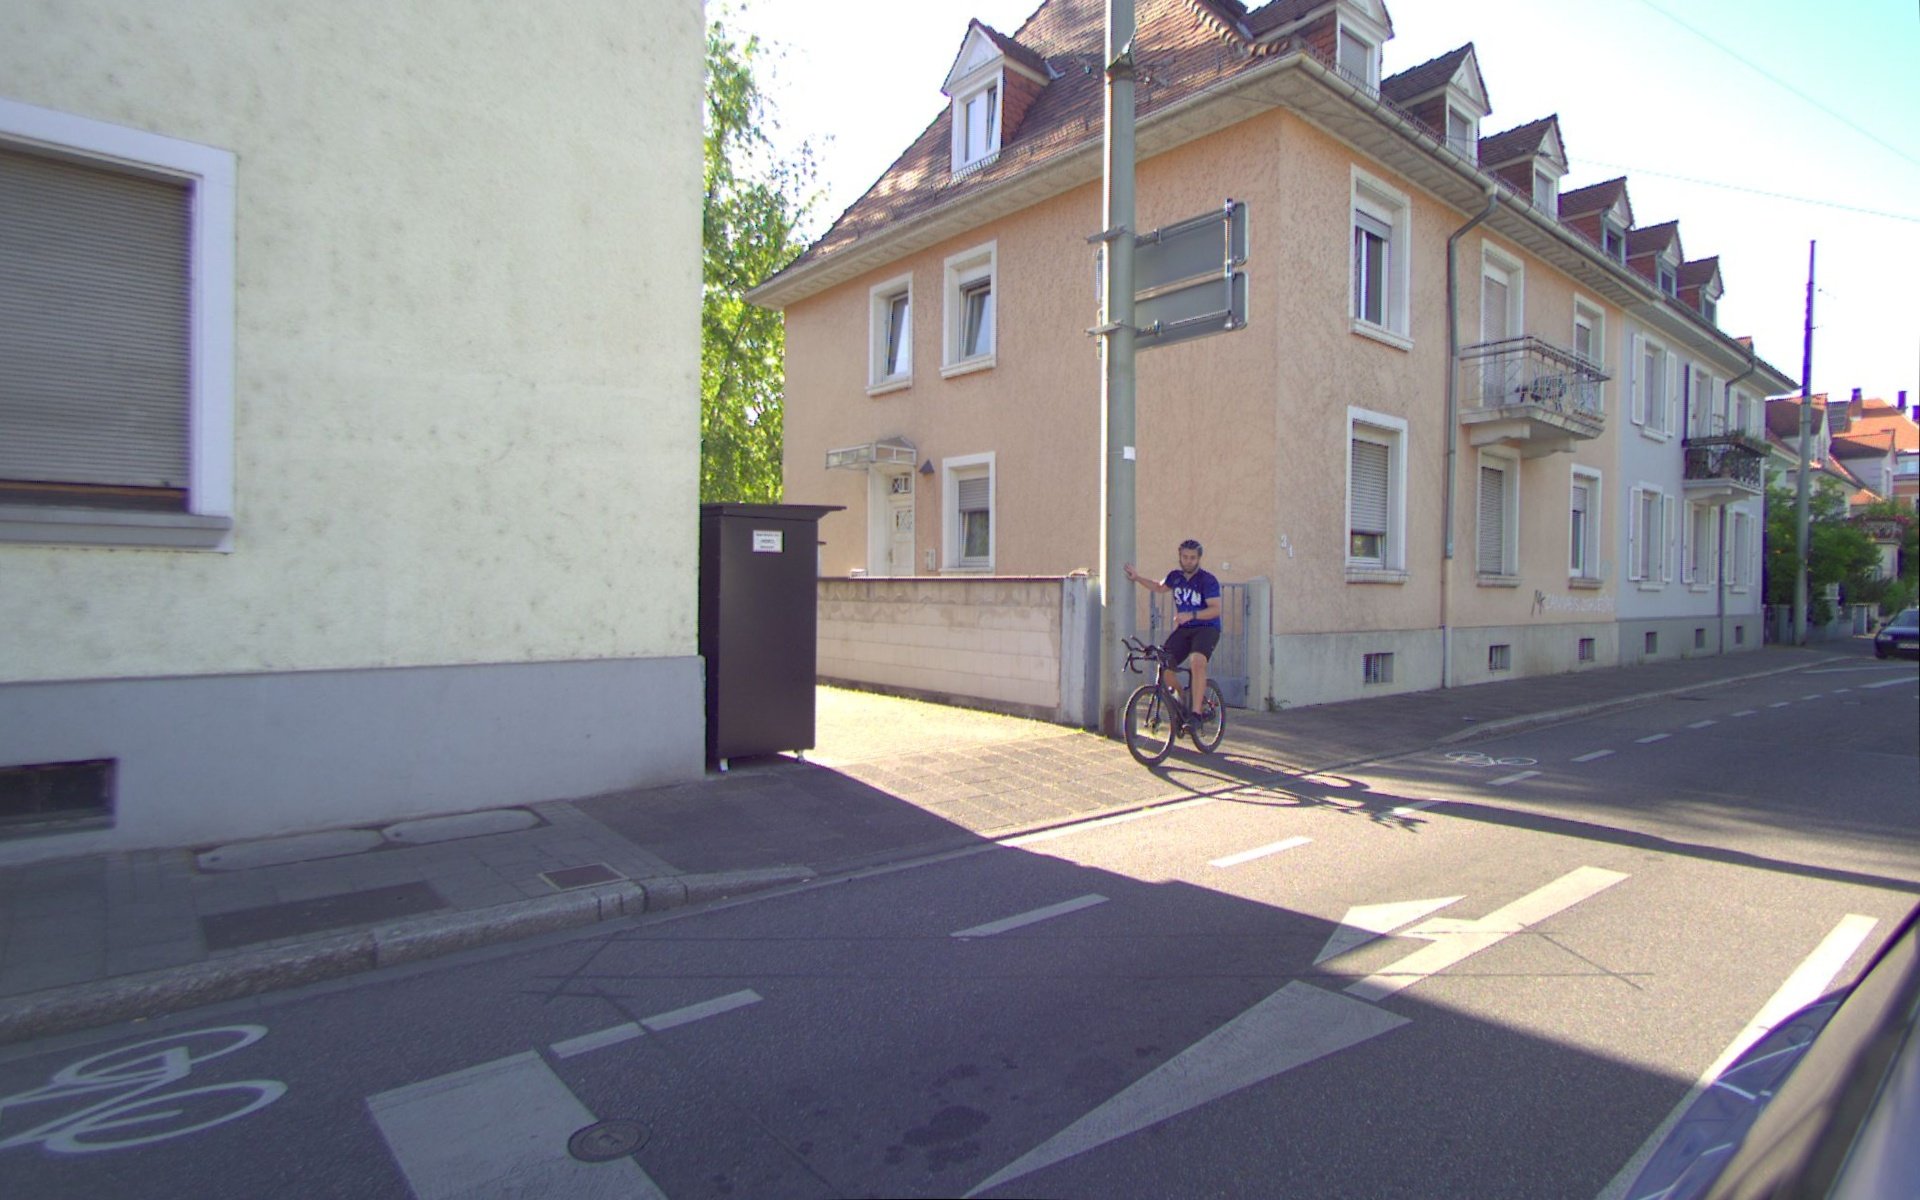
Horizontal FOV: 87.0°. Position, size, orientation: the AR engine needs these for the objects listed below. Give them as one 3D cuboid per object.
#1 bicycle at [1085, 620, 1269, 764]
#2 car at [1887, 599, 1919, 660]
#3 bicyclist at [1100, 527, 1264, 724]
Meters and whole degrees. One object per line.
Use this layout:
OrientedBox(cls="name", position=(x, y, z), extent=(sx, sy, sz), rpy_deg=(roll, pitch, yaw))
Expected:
OrientedBox(cls="bicycle", position=(1.957, 0.763, 8.994), extent=(1.744, 1.081, 0.592), rpy_deg=(0, 5, -41))
OrientedBox(cls="car", position=(26.700, 0.758, 27.365), extent=(3.742, 1.601, 1.696), rpy_deg=(0, -1, -36))
OrientedBox(cls="bicyclist", position=(2.023, 0.193, 9.285), extent=(0.870, 1.627, 1.052), rpy_deg=(1, 5, -41))
